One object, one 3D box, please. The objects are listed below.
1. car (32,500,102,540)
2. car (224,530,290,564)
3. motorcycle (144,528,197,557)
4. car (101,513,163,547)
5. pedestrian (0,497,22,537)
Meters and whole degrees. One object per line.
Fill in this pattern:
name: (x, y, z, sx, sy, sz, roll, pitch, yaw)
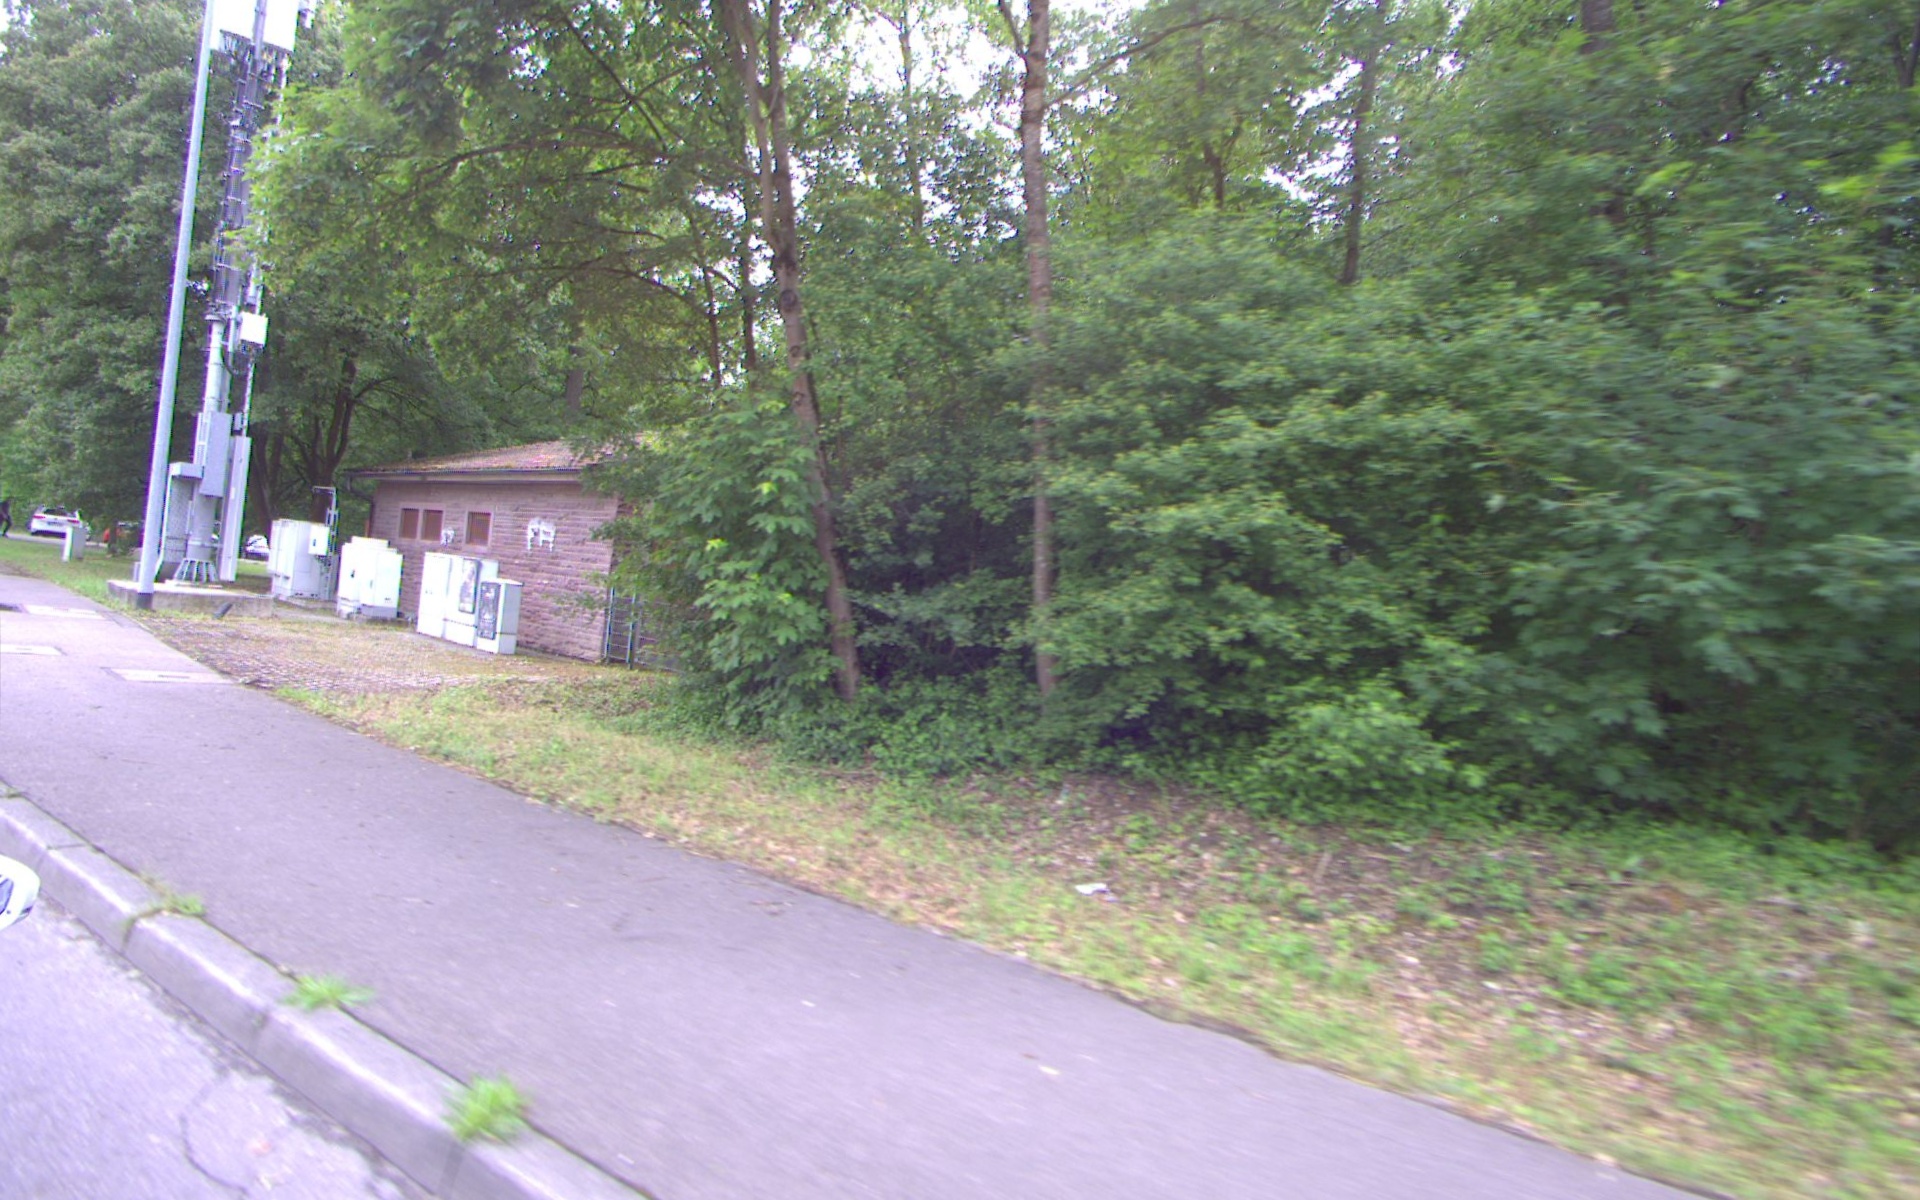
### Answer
car: (-42.489, -3.772, 47.955, 1.823, 1.555, 3.964, 7, -1, -34)
car: (-36.951, -2.787, 52.886, 3.938, 1.342, 1.556, 6, -1, 36)
motorcycle: (-36.265, -2.647, 46.219, 1.820, 1.070, 0.608, 8, -1, -40)
car: (-40.530, -3.417, 49.322, 1.823, 1.342, 3.964, 7, -1, -34)
pedestrian: (-39.042, -3.399, 41.075, 0.835, 1.524, 0.783, 7, 0, -35)
